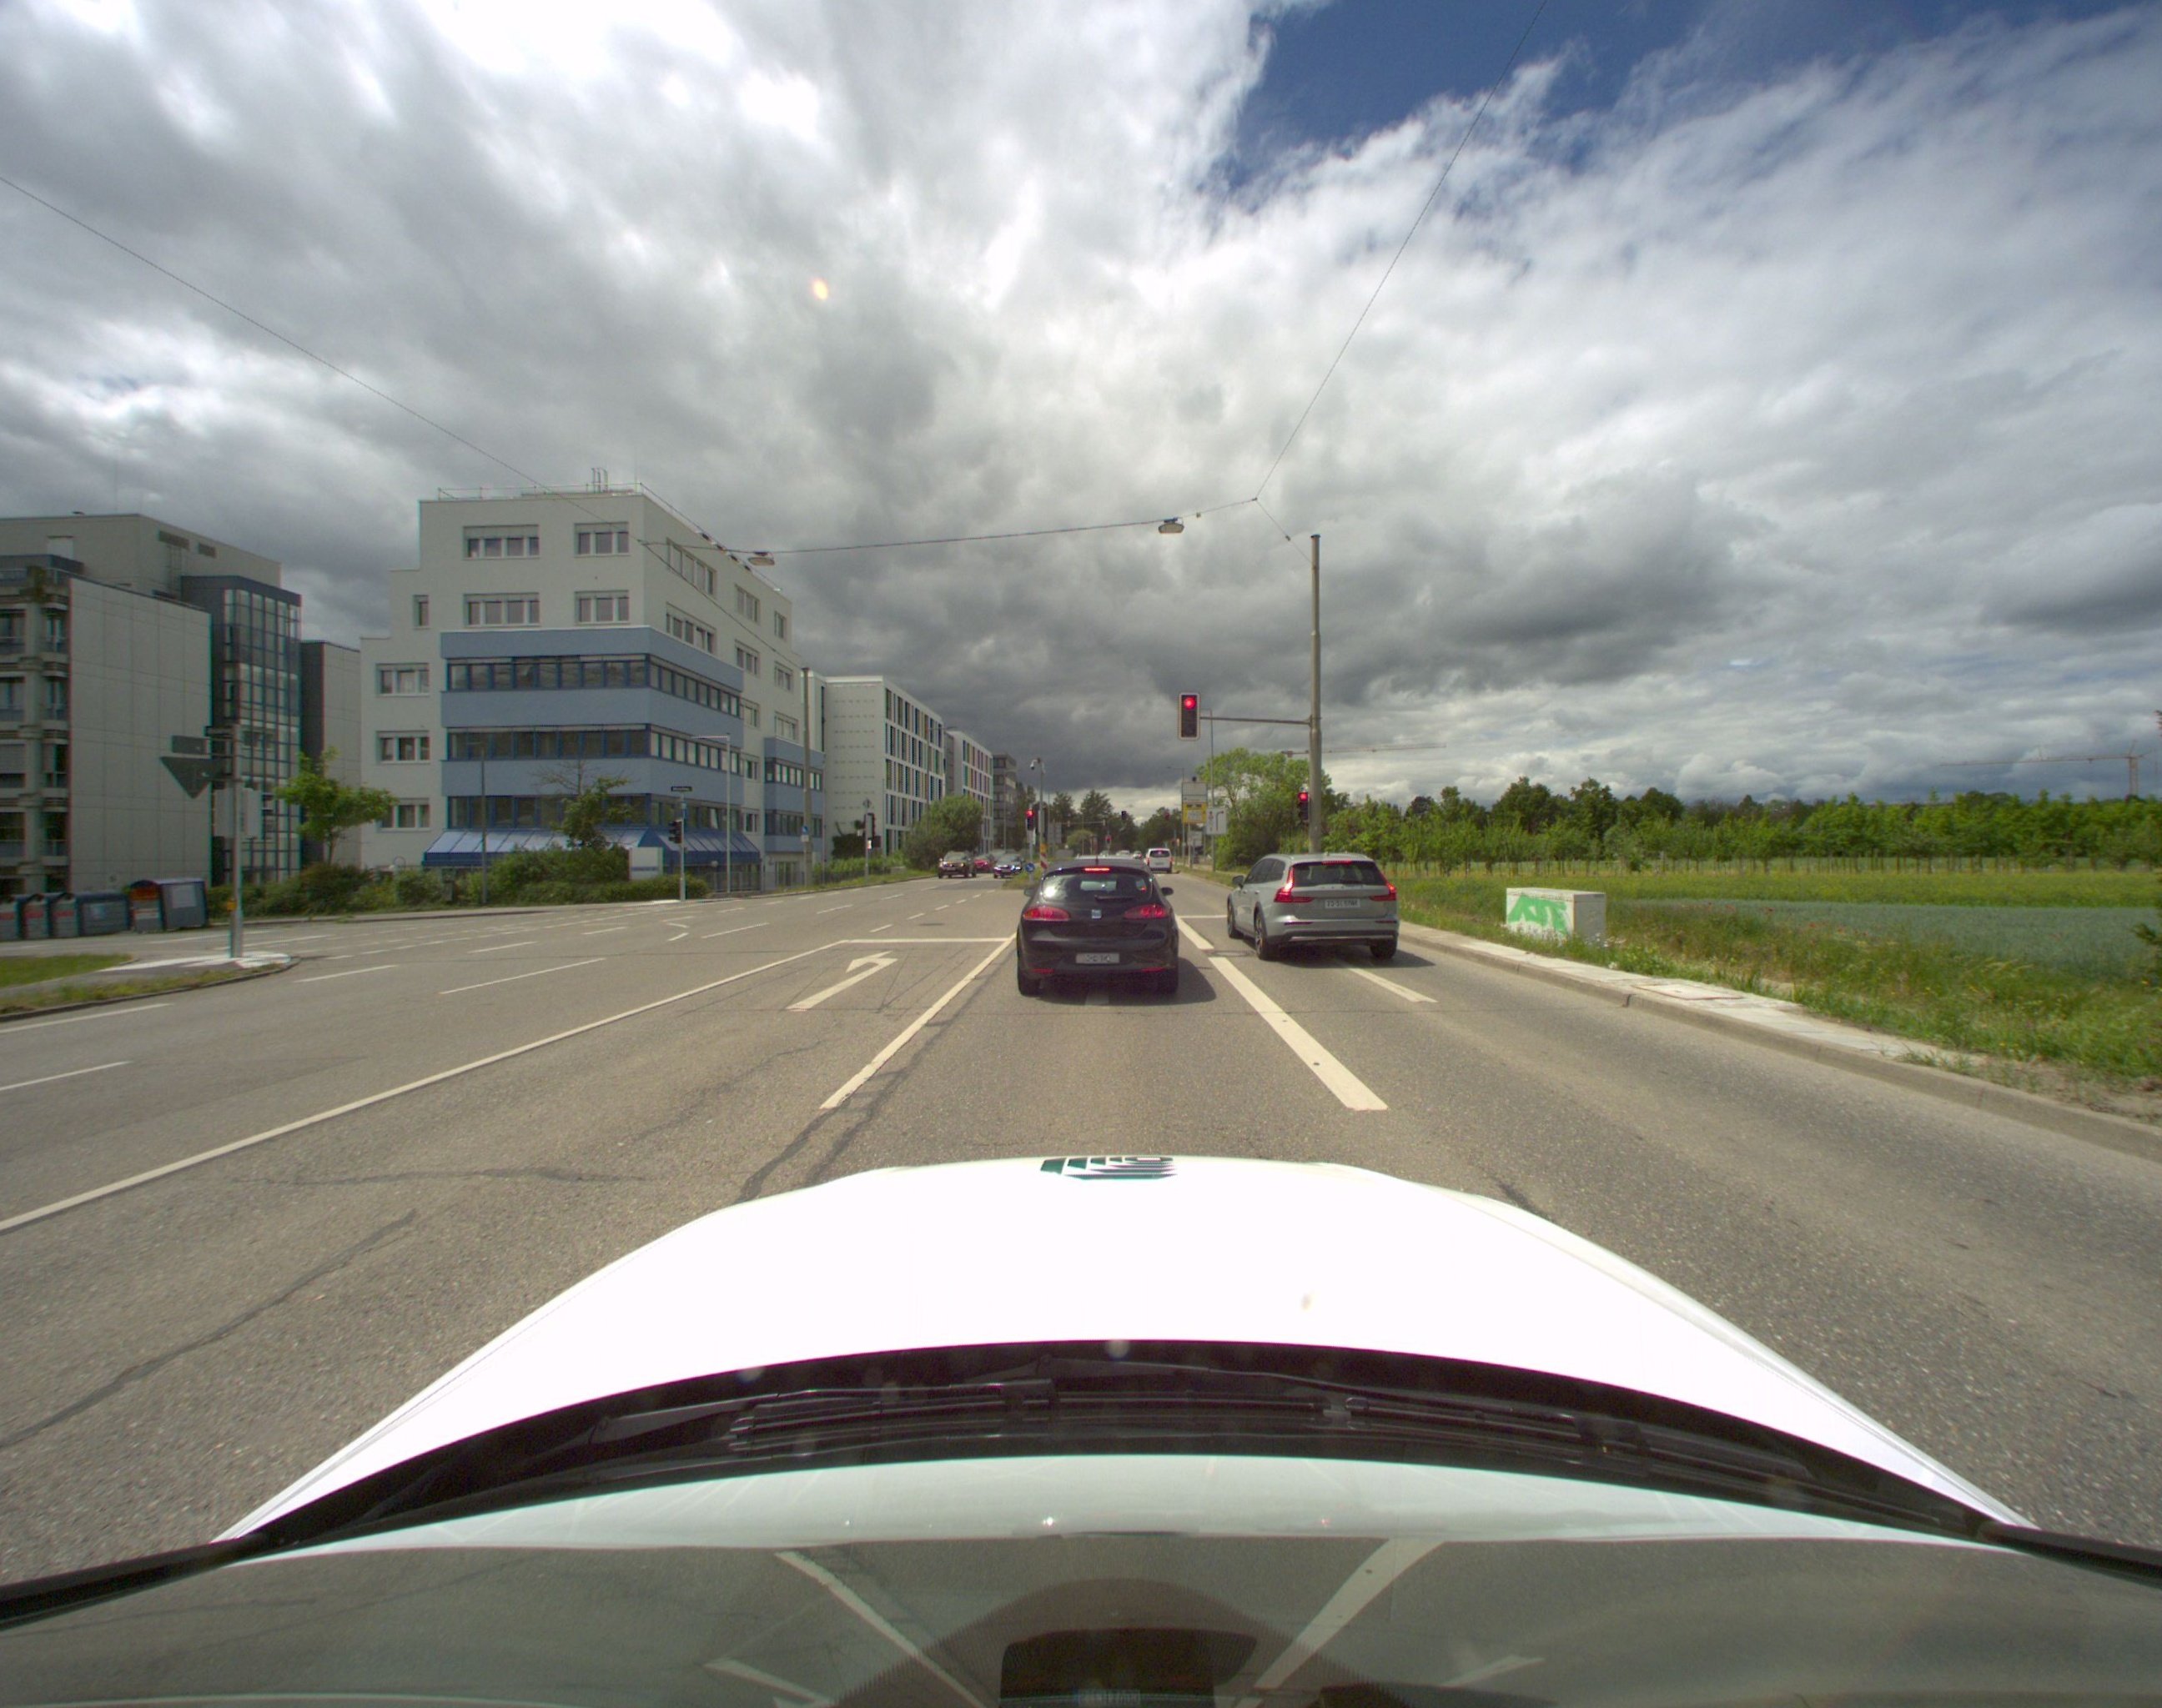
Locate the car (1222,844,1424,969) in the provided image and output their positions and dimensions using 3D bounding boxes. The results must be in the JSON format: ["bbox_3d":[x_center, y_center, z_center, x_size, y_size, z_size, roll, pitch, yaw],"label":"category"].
[{"bbox_3d":[3.455,0.686,12.566,1.950,1.525,4.342,-2,-1,2],"label":"car"}]

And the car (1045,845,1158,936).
[{"bbox_3d":[0.406,0.653,16.526,1.976,1.590,4.227,0,0,1],"label":"car"}]

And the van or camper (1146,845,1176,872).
[{"bbox_3d":[5.934,0.351,61.102,1.892,1.926,4.000,-1,-1,1],"label":"van or camper"}]

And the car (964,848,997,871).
[{"bbox_3d":[-7.403,0.374,60.110,1.769,1.612,4.001,-1,0,2],"label":"car"}]

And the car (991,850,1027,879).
[{"bbox_3d":[-4.279,0.591,48.896,1.662,1.524,4.010,-3,1,2],"label":"car"}]

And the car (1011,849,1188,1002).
[{"bbox_3d":[0.358,0.714,10.023,1.739,1.484,4.006,0,0,5],"label":"car"}]

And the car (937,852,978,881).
[{"bbox_3d":[-7.502,0.725,49.765,1.744,1.631,4.002,-3,0,2],"label":"car"}]
